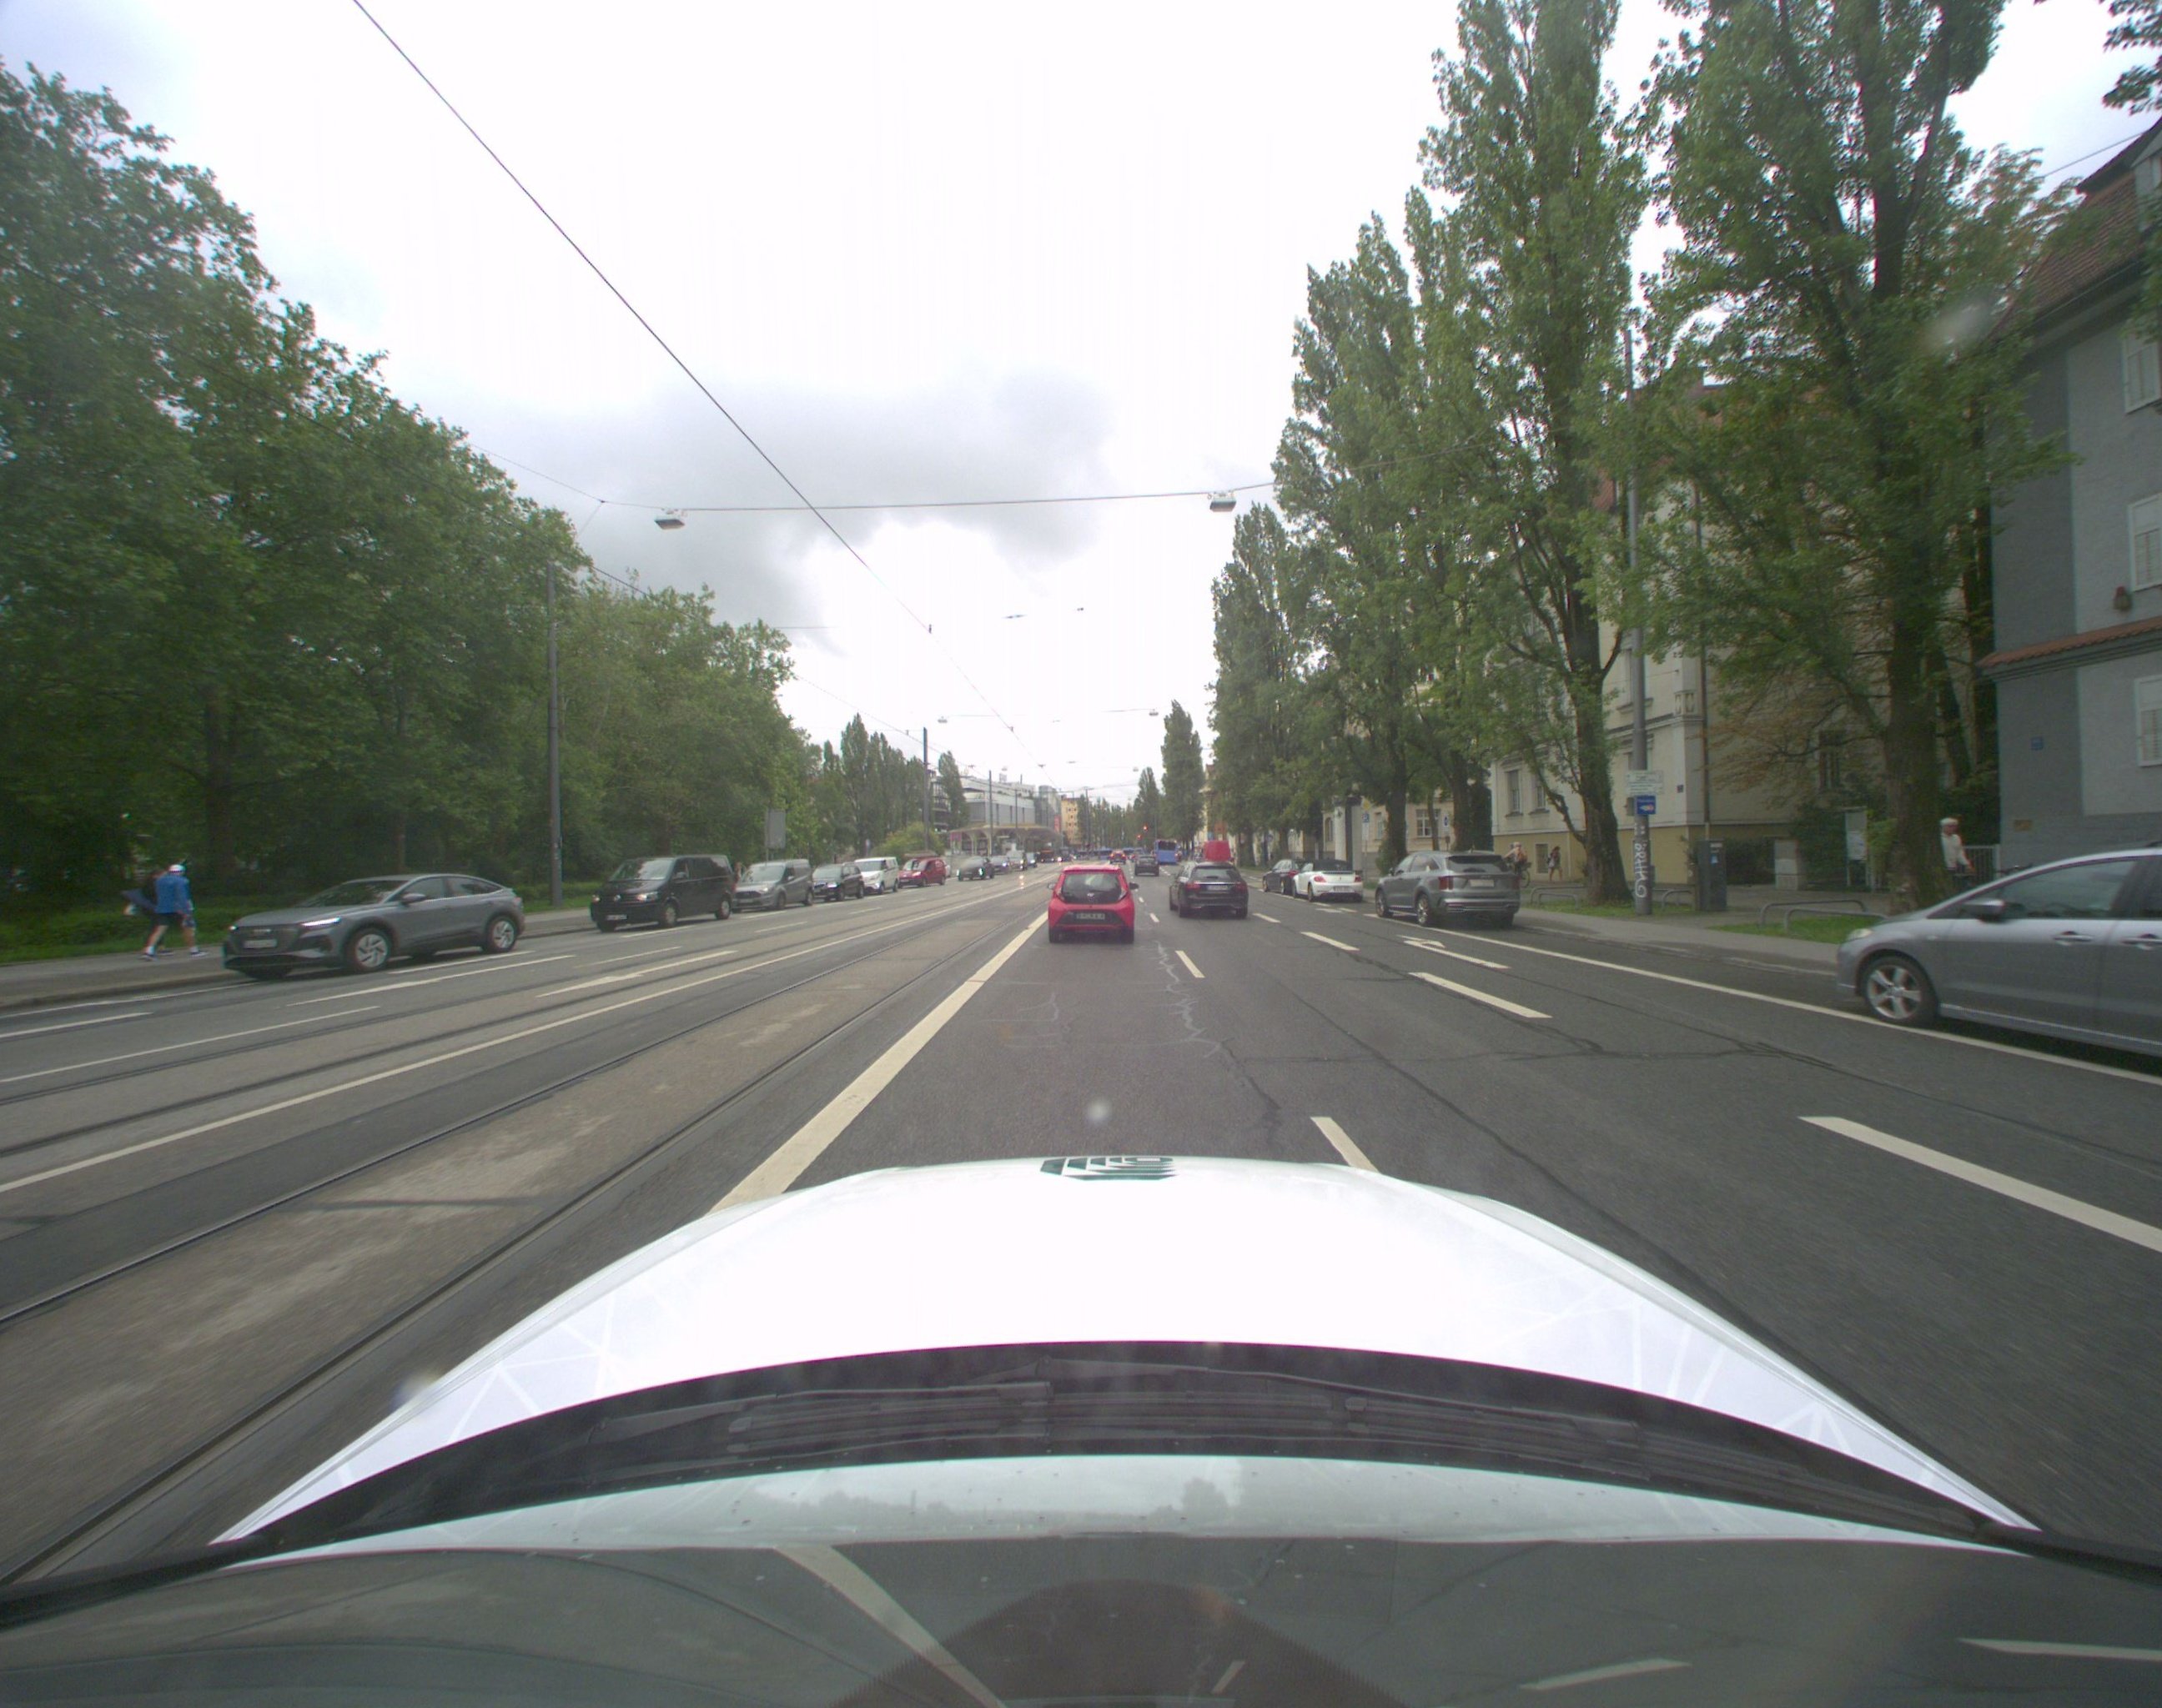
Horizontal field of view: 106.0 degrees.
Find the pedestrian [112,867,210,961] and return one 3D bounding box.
[{"bbox_3d":[-17.478,1.119,15.500,0.660,1.684,0.991,-1,1,10],"label":"pedestrian"}]

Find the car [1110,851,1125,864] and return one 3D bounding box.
[{"bbox_3d":[4.420,0.405,98.178,1.729,1.549,4.578,-2,0,2],"label":"car"}]

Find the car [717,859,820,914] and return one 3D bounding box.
[{"bbox_3d":[-11.351,1.124,29.952,1.792,1.788,4.521,-3,-1,2],"label":"car"}]

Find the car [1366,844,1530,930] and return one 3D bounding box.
[{"bbox_3d":[8.461,0.702,19.310,1.793,1.743,4.701,-2,0,1],"label":"car"}]

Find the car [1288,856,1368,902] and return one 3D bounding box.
[{"bbox_3d":[8.820,0.864,29.399,1.792,1.508,4.002,-1,0,2],"label":"car"}]

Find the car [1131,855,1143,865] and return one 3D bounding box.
[{"bbox_3d":[8.408,0.906,122.464,1.774,1.486,4.002,-1,0,2],"label":"car"}]

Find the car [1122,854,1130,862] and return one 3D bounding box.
[{"bbox_3d":[10.292,0.833,186.364,1.795,1.596,4.006,-1,-3,6],"label":"car"}]

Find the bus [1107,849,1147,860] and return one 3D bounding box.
[{"bbox_3d":[12.211,0.094,215.943,10.527,2.846,1.999,-1,1,-2],"label":"bus"}]

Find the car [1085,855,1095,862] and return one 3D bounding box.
[{"bbox_3d":[1.772,0.873,159.046,1.774,1.486,4.002,-1,0,2],"label":"car"}]

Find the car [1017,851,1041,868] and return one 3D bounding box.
[{"bbox_3d":[-5.587,0.618,87.587,1.791,1.665,4.525,-3,-1,5],"label":"car"}]

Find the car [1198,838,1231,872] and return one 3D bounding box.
[{"bbox_3d":[10.472,0.034,64.138,1.986,2.574,4.683,-1,1,2],"label":"car"}]

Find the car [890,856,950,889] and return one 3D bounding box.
[{"bbox_3d":[-9.797,1.086,49.927,1.787,1.788,4.535,-3,-1,13],"label":"car"}]

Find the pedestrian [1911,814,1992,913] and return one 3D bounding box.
[{"bbox_3d":[15.658,0.157,14.670,0.589,1.738,0.825,-1,1,2],"label":"pedestrian"}]

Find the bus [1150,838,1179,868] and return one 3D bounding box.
[{"bbox_3d":[10.281,-0.238,101.514,2.895,3.395,10.813,-1,1,2],"label":"bus"}]

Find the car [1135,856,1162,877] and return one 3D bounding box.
[{"bbox_3d":[4.971,0.882,60.431,1.774,1.486,4.002,-1,0,2],"label":"car"}]

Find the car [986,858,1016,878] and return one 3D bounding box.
[{"bbox_3d":[-6.803,1.148,69.663,1.792,1.530,4.522,-3,-1,3],"label":"car"}]

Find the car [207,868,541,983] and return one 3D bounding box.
[{"bbox_3d":[-12.148,1.115,14.527,1.792,1.634,4.591,-2,0,2],"label":"car"}]

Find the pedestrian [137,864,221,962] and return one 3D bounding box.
[{"bbox_3d":[-17.074,1.093,15.432,0.660,1.790,0.821,-1,-1,10],"label":"pedestrian"}]

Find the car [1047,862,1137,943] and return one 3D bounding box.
[{"bbox_3d":[0.197,0.884,16.418,1.623,1.440,3.375,0,0,0],"label":"car"}]

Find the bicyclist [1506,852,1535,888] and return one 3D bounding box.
[{"bbox_3d":[16.564,0.598,30.709,0.658,1.314,0.706,-2,-1,0],"label":"bicyclist"}]

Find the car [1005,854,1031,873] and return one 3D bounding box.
[{"bbox_3d":[-5.933,0.908,77.110,1.792,1.665,4.522,-3,-1,3],"label":"car"}]

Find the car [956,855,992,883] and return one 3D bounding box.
[{"bbox_3d":[-7.641,1.043,58.507,1.793,1.788,4.519,-3,-1,1],"label":"car"}]

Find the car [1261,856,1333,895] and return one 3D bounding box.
[{"bbox_3d":[9.048,0.882,34.510,1.794,1.508,4.448,-1,0,-1],"label":"car"}]

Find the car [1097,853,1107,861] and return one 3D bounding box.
[{"bbox_3d":[3.733,0.510,144.757,1.774,1.486,4.002,-1,0,2],"label":"car"}]

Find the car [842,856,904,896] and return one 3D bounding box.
[{"bbox_3d":[-10.677,1.109,42.112,1.792,1.861,4.632,-3,-1,2],"label":"car"}]

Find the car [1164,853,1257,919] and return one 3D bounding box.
[{"bbox_3d":[3.448,0.792,22.569,1.857,1.549,4.704,-2,0,1],"label":"car"}]

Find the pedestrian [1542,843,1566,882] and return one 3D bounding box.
[{"bbox_3d":[19.204,0.321,33.053,0.550,1.547,0.739,-1,1,1],"label":"pedestrian"}]

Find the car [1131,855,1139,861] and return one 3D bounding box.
[{"bbox_3d":[12.852,1.002,195.347,1.774,1.486,4.002,-1,0,2],"label":"car"}]

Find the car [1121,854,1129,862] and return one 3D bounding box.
[{"bbox_3d":[10.461,0.942,193.444,1.795,1.596,4.006,-1,-3,6],"label":"car"}]

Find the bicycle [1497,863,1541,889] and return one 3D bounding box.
[{"bbox_3d":[16.567,0.806,30.839,0.650,0.923,1.903,-2,0,0],"label":"bicycle"}]

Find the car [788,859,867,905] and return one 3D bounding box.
[{"bbox_3d":[-10.969,1.161,35.643,1.792,1.788,4.521,-3,-1,2],"label":"car"}]

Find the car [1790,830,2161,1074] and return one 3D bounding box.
[{"bbox_3d":[8.027,0.626,5.929,1.793,1.612,4.548,-2,0,1],"label":"car"}]

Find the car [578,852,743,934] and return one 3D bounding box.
[{"bbox_3d":[-11.528,0.992,22.834,1.792,1.991,5.042,-2,-1,2],"label":"car"}]

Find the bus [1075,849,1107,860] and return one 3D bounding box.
[{"bbox_3d":[2.661,0.163,215.646,8.442,2.846,1.999,-1,1,-1],"label":"bus"}]

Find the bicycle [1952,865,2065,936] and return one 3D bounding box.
[{"bbox_3d":[14.079,0.681,12.398,0.353,0.988,1.229,-1,1,2],"label":"bicycle"}]
